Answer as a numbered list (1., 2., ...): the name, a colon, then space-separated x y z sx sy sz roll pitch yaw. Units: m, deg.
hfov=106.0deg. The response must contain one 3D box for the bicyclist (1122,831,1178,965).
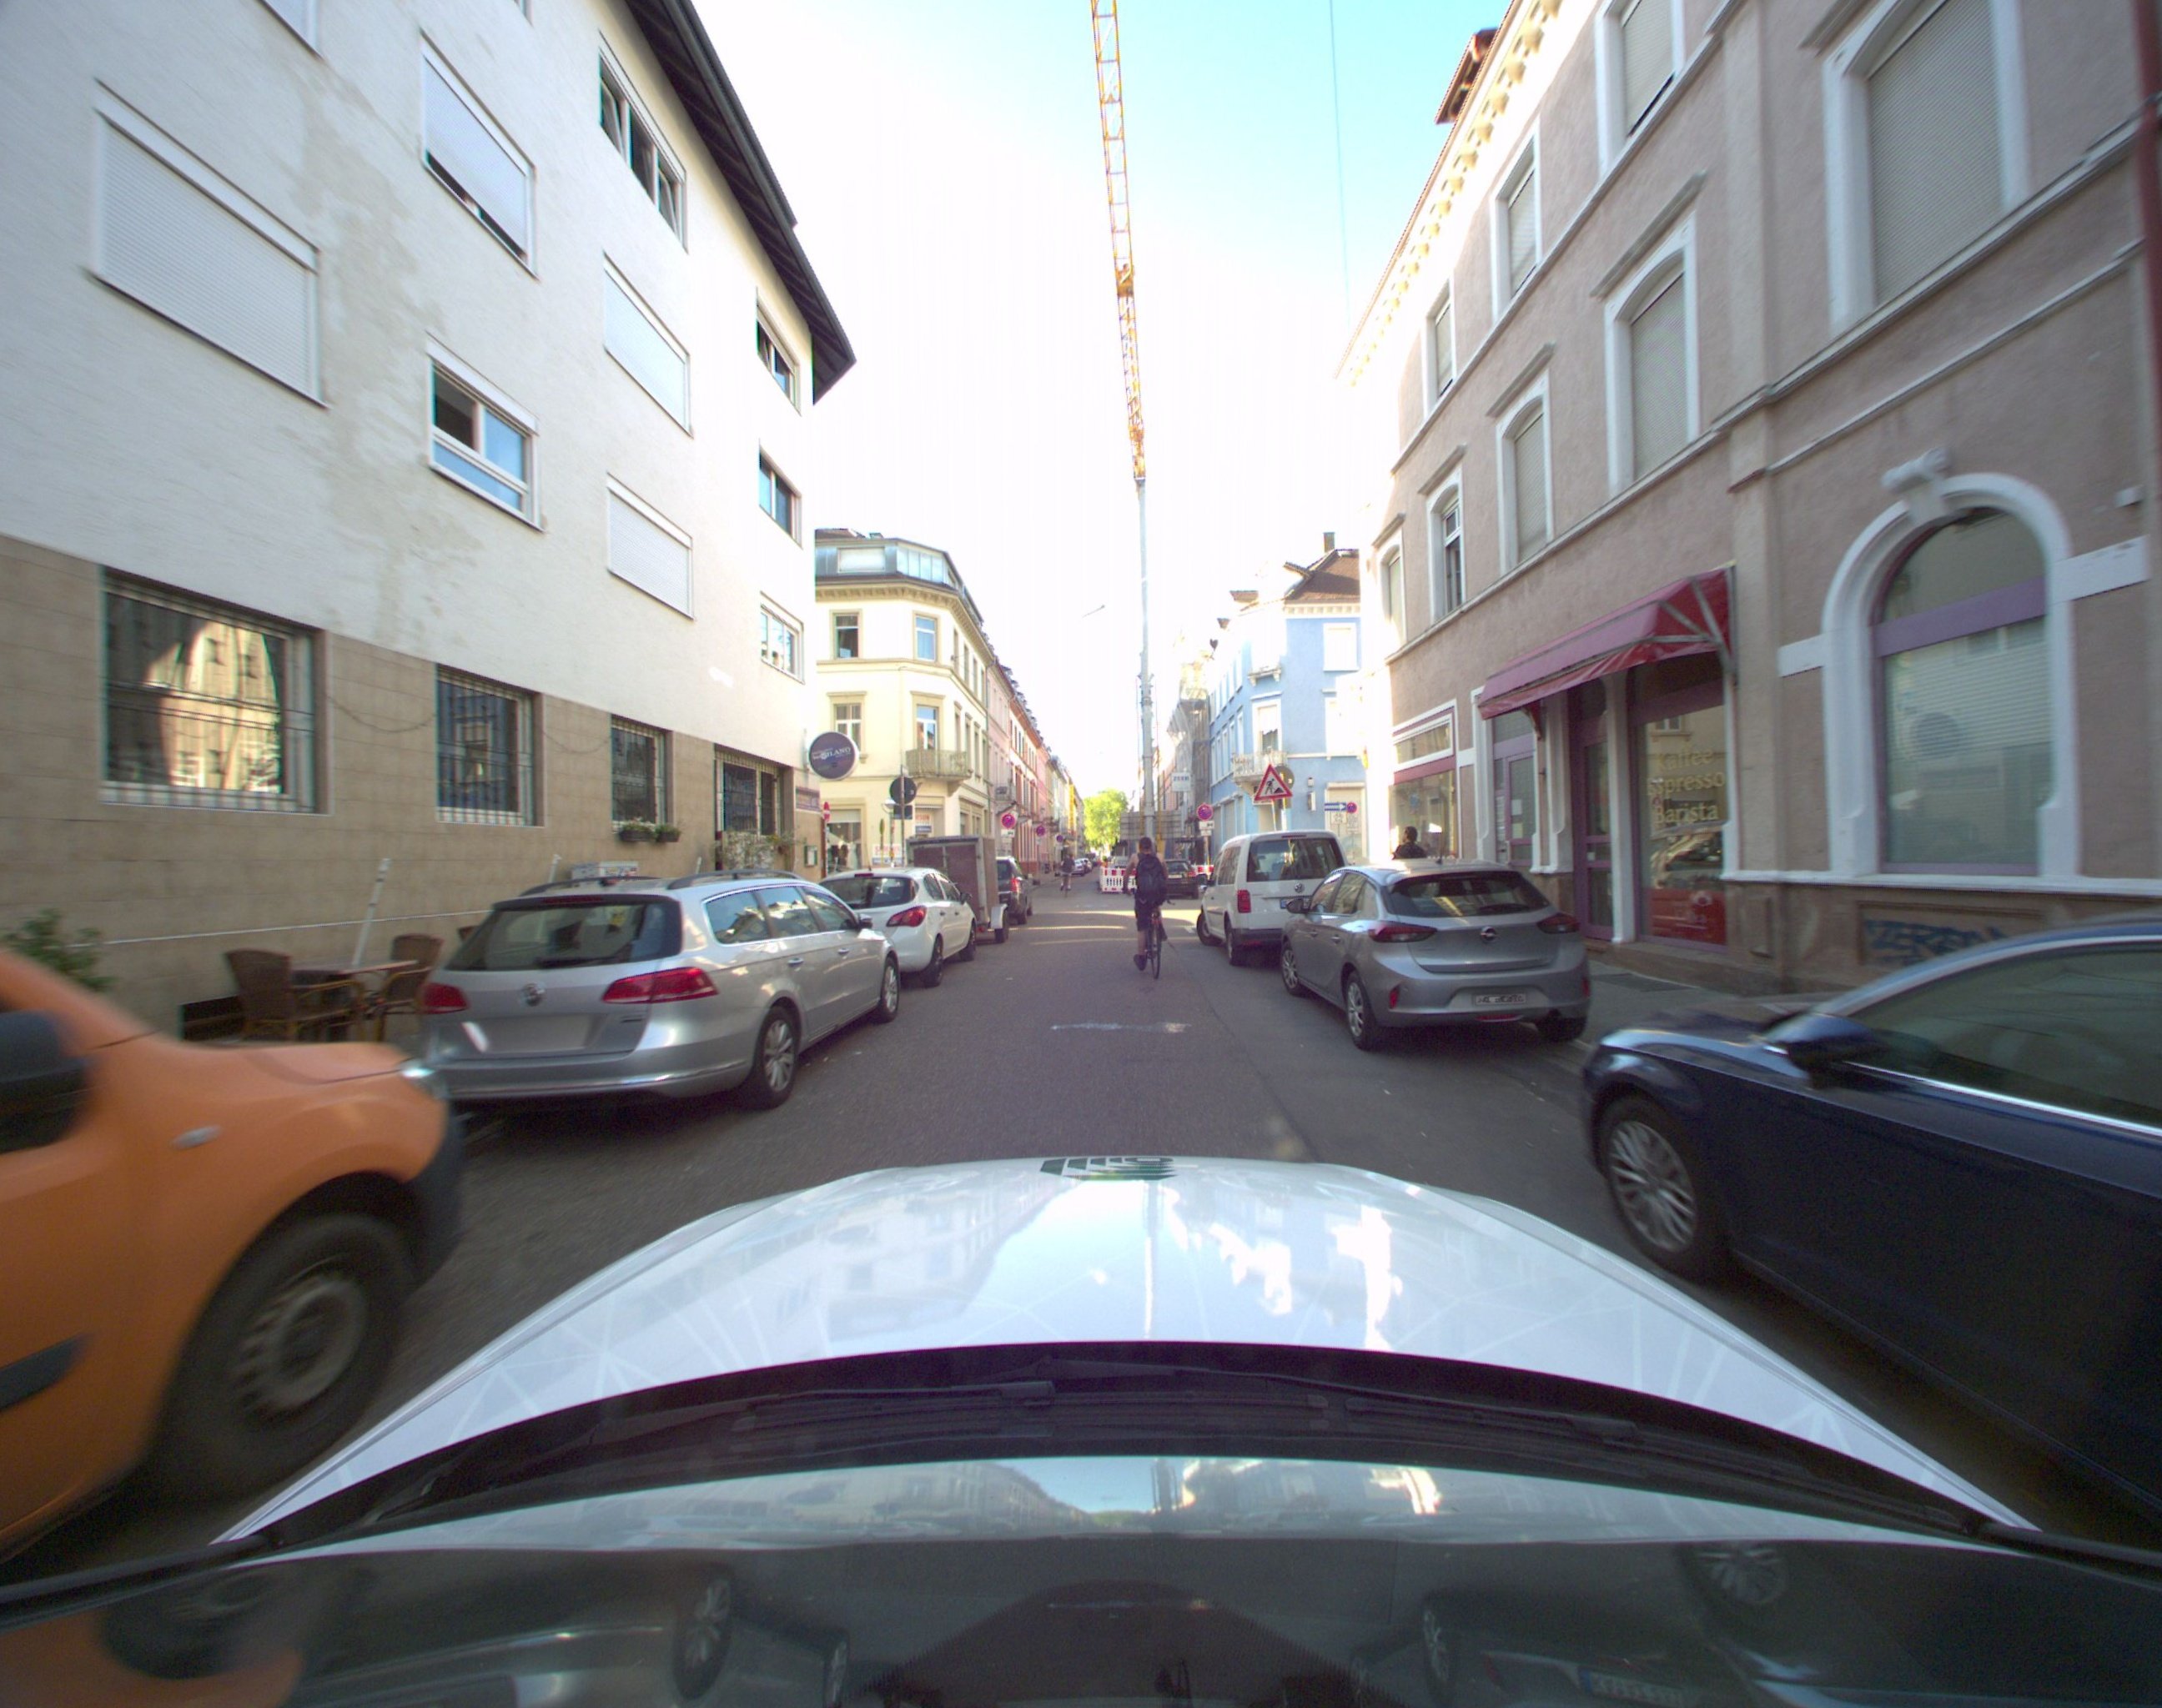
1. bicyclist: 0.895 0.562 10.741 0.665 1.677 1.097 0 -1 1

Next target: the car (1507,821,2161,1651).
1. car: 2.779 0.684 1.735 1.640 1.475 3.972 -5 -1 2

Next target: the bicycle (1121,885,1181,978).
1. bicycle: 0.899 0.976 10.828 0.674 1.074 1.942 0 -1 1

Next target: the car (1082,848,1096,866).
1. car: 1.131 0.450 115.553 1.744 2.318 3.797 -2 -1 1

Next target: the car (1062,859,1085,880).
1. car: -0.589 1.303 69.328 1.744 1.683 3.797 -2 -1 1

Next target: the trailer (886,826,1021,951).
1. trailer: -2.347 0.623 15.905 1.875 2.092 3.738 -2 -1 1

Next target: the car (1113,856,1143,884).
1. car: 2.644 0.909 46.227 1.605 1.560 3.611 0 -1 2

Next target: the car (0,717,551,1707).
1. car: -2.847 0.689 0.878 1.746 1.816 4.078 -3 -1 1

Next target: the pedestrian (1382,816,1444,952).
1. pedestrian: 5.054 0.450 12.433 0.642 2.014 0.764 0 -1 1

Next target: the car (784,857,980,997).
1. car: -2.516 0.865 11.158 1.647 1.537 3.635 -2 -1 1

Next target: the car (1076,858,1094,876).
1. car: 0.403 1.388 86.317 1.744 1.821 3.797 -2 -1 1

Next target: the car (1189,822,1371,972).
1. car: 2.856 0.591 12.585 1.745 1.879 3.971 -2 -1 -1

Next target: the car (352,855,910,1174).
1. car: -2.726 0.837 6.253 1.743 1.537 4.320 -2 -1 1

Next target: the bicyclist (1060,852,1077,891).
1. bicyclist: -0.502 0.697 32.585 0.668 1.567 0.716 0 -1 1

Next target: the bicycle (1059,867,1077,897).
1. bicycle: -0.502 1.097 32.436 0.646 1.129 2.136 0 -1 2

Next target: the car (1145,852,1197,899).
1. car: 3.253 0.769 29.899 1.605 1.634 3.611 0 -1 2

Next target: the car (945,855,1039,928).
1. car: -2.100 0.874 20.214 1.744 1.573 3.797 -2 -1 1

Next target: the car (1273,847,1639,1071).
1. car: 3.023 0.755 7.512 1.743 1.487 3.802 -2 -1 3
